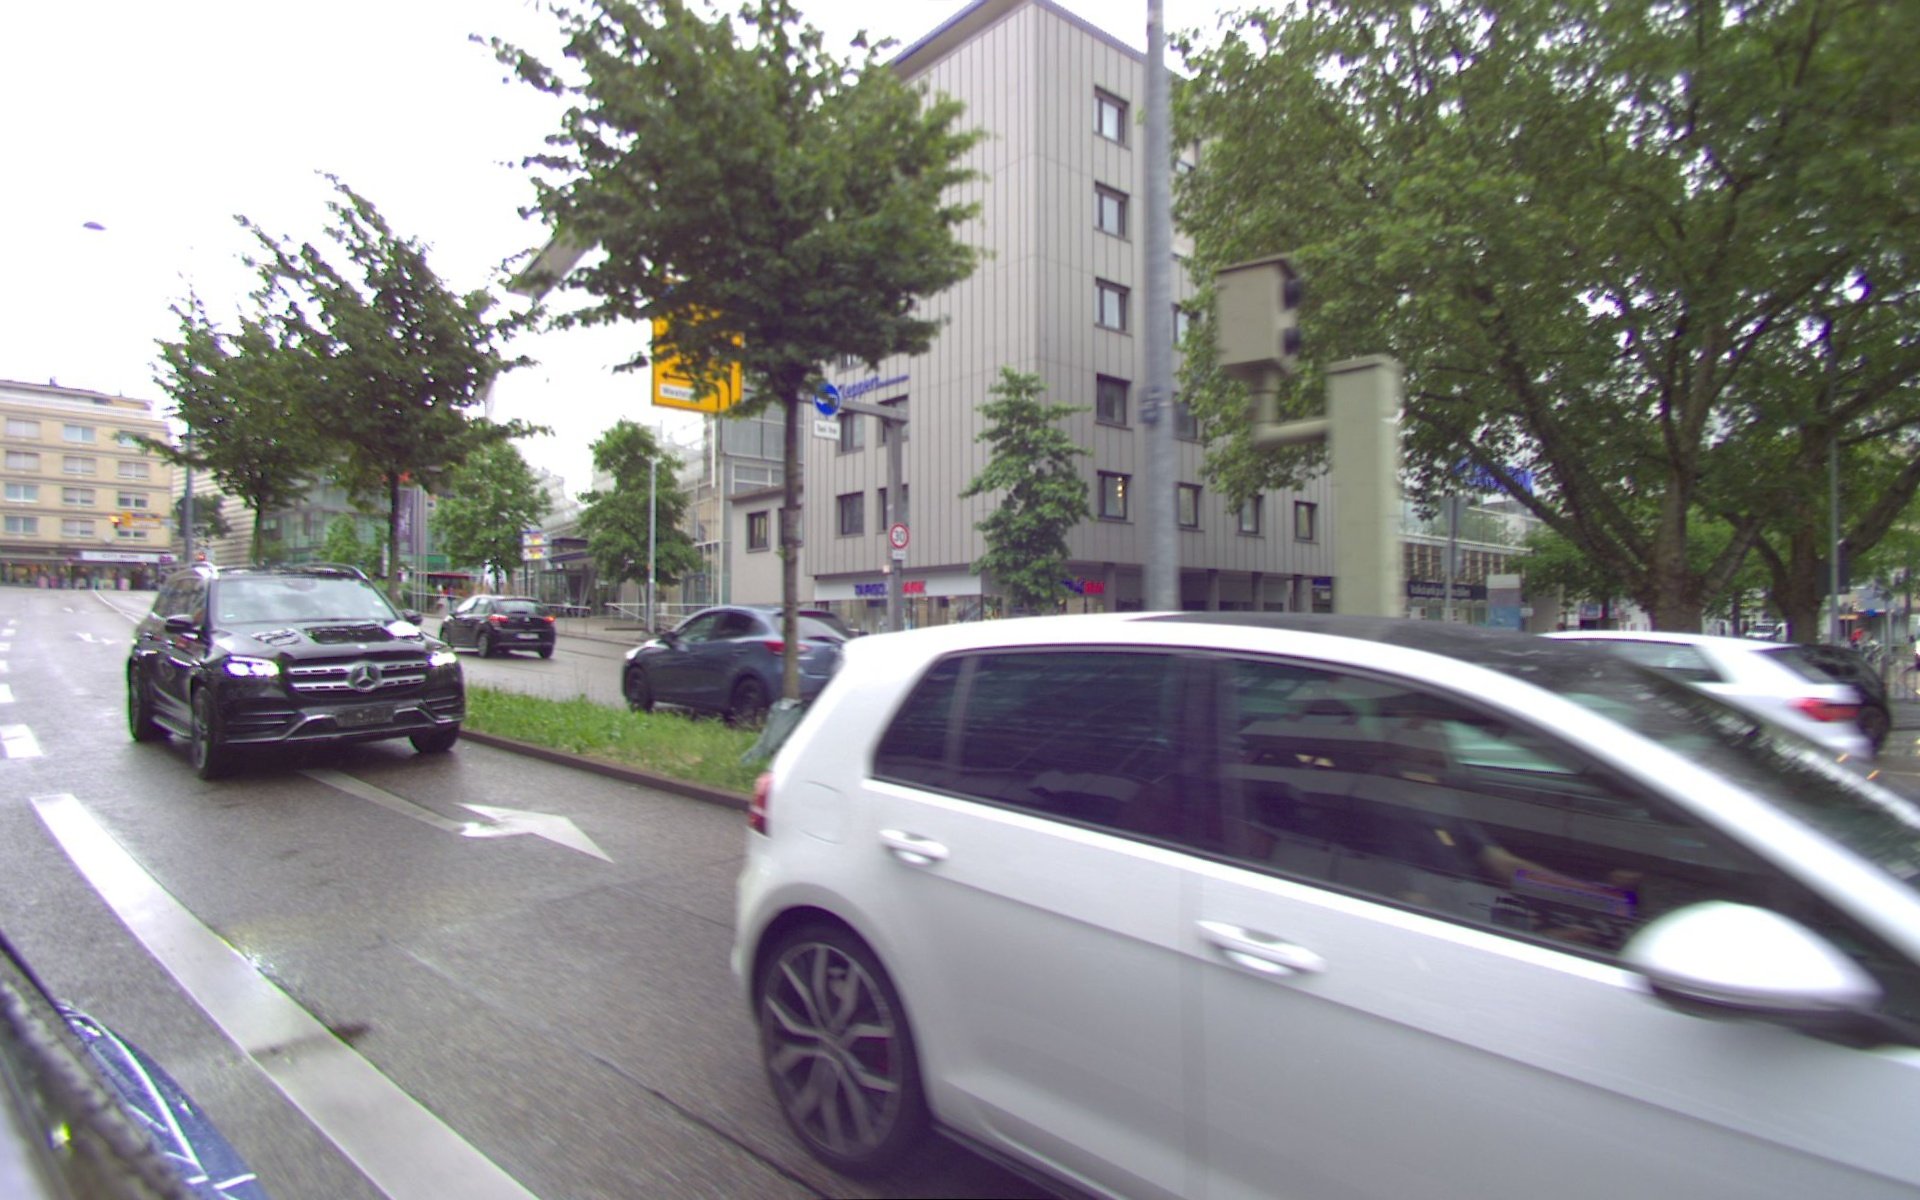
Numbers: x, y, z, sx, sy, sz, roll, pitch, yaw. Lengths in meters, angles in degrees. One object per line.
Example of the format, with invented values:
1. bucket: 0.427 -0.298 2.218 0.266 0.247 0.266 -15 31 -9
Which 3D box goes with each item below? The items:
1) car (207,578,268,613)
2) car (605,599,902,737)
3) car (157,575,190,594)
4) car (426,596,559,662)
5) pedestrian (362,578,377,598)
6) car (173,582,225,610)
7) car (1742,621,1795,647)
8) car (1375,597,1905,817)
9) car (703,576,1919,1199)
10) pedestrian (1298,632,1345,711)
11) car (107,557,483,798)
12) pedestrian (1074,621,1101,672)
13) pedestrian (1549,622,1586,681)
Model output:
1. car: -33.409 -0.226 46.767 3.648 1.448 1.607 2 0 43
2. car: -2.745 0.777 12.960 3.957 1.490 1.694 0 -3 43
3. car: -87.722 -1.740 112.862 3.994 2.028 1.975 2 2 37
4. car: -11.736 0.705 25.297 3.879 1.503 1.601 0 -3 43
5. pedestrian: -56.983 -1.177 97.646 0.736 1.912 0.976 1 2 27
6. car: -44.463 -0.238 59.126 1.970 1.520 4.190 1 1 -43
7. car: 61.430 2.566 76.884 3.745 1.763 1.923 0 2 -31
8. car: 5.797 0.796 8.902 3.643 1.527 1.653 -1 -3 43
9. car: 1.328 0.676 2.183 3.999 1.420 1.746 0 0 42
10. pedestrian: 7.650 1.500 21.439 0.701 1.619 0.670 -3 -4 45
11. car: -6.679 0.490 9.905 4.886 1.791 1.972 2 3 43
12. pedestrian: 4.335 1.569 34.432 0.613 1.669 0.633 2 0 -41
13. pedestrian: 14.680 1.243 24.462 0.540 1.417 0.527 1 -3 -22
